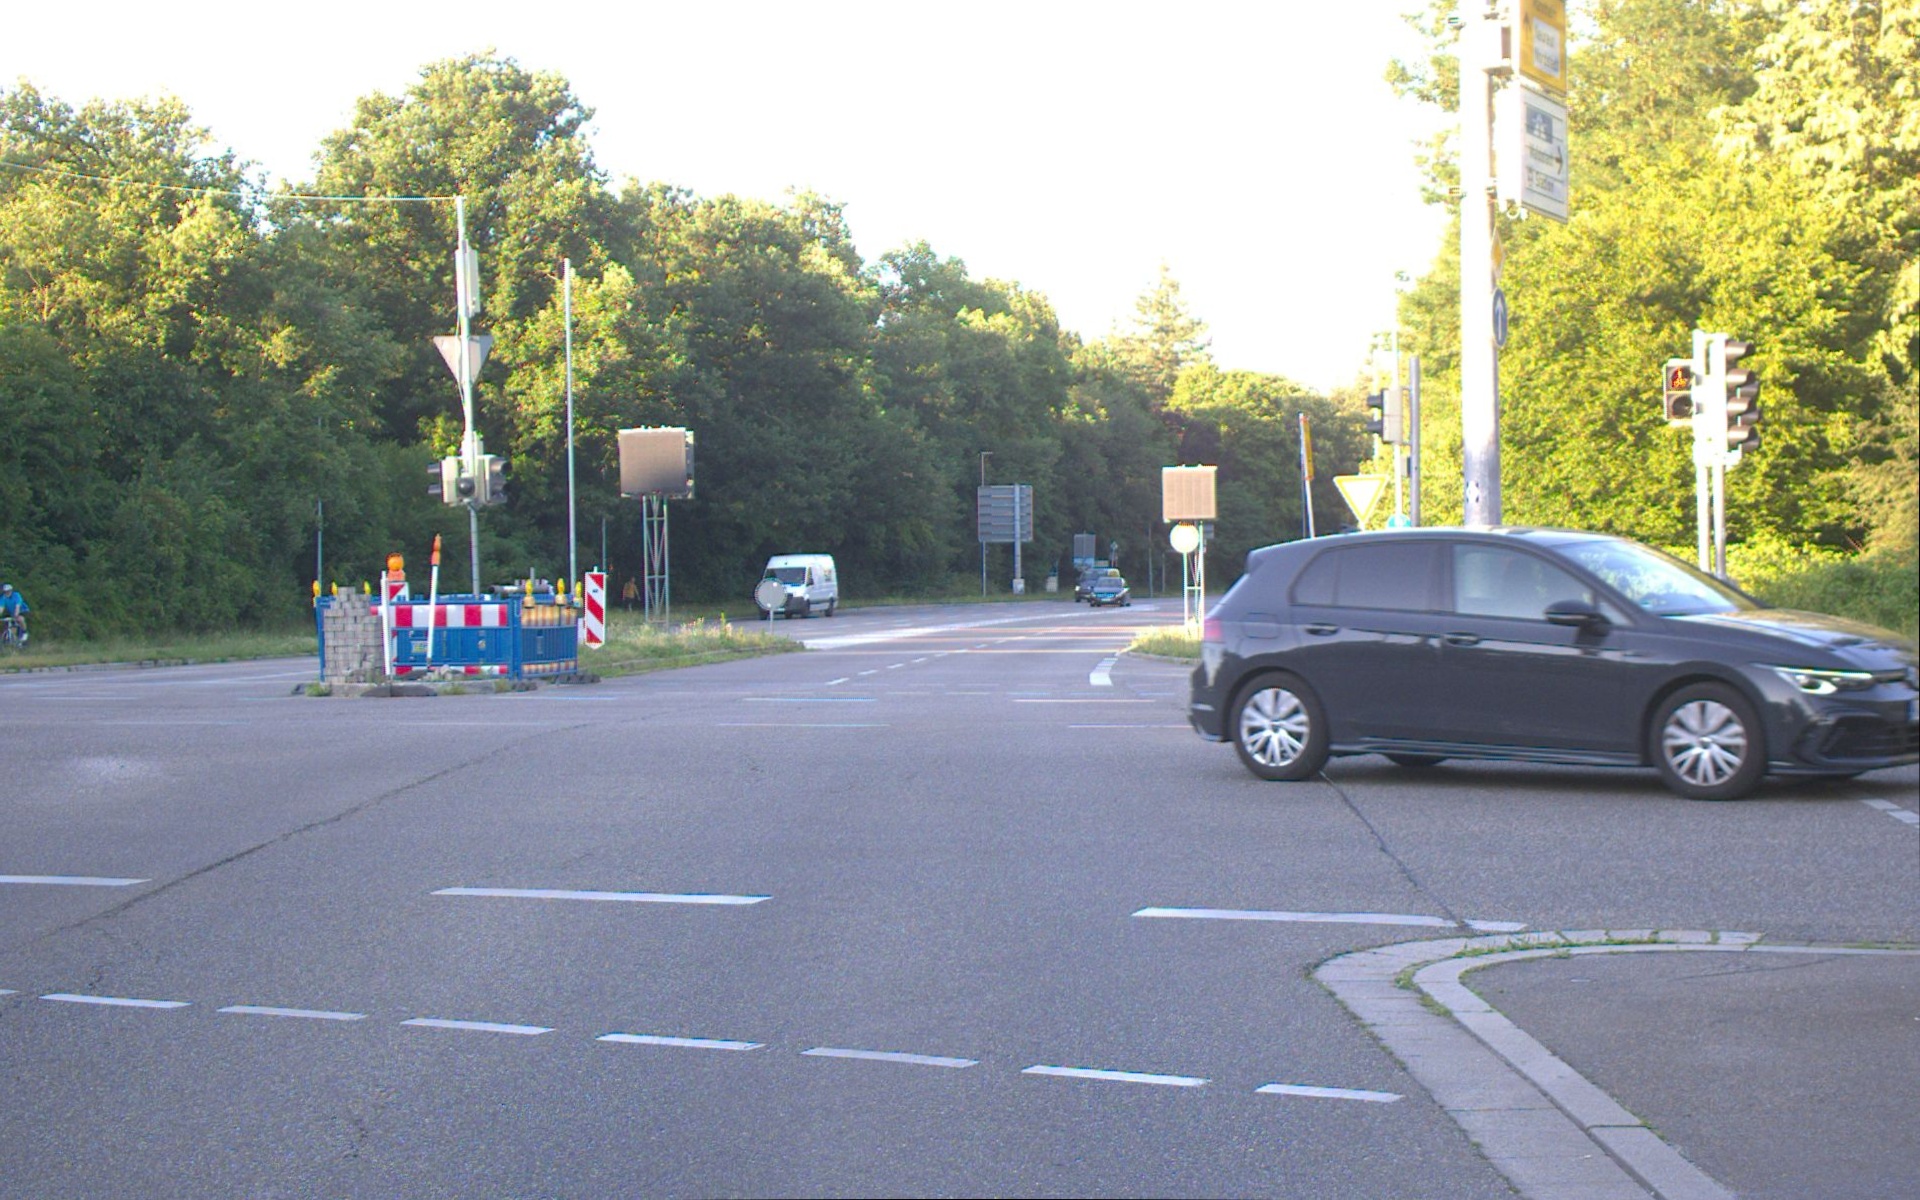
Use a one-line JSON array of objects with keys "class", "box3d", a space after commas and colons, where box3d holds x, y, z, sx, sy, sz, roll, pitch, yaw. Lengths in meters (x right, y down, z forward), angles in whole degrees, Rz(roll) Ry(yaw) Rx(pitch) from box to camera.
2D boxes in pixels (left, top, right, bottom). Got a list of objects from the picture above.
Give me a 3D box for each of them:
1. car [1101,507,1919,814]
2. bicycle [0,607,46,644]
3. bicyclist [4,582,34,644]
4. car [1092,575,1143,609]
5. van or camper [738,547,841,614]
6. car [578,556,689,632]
[{"class": "car", "box3d": [3.276, 0.281, 19.277, 4.673, 1.524, 1.996, 0, 1, 38]}, {"class": "bicycle", "box3d": [-21.437, 0.577, 78.315, 1.103, 0.823, 0.413, -1, 1, -41]}, {"class": "bicyclist", "box3d": [-21.440, 0.293, 78.320, 0.518, 1.382, 0.407, -1, 1, -42]}, {"class": "car", "box3d": [8.207, -0.424, 178.917, 1.994, 1.634, 3.998, -2, 2, 12]}, {"class": "van or camper", "box3d": [-6.968, -0.826, 141.648, 2.886, 2.643, 7.119, 0, 1, 9]}, {"class": "car", "box3d": [-8.915, -0.179, 94.251, 1.994, 2.007, 3.998, 0, 1, 10]}]
